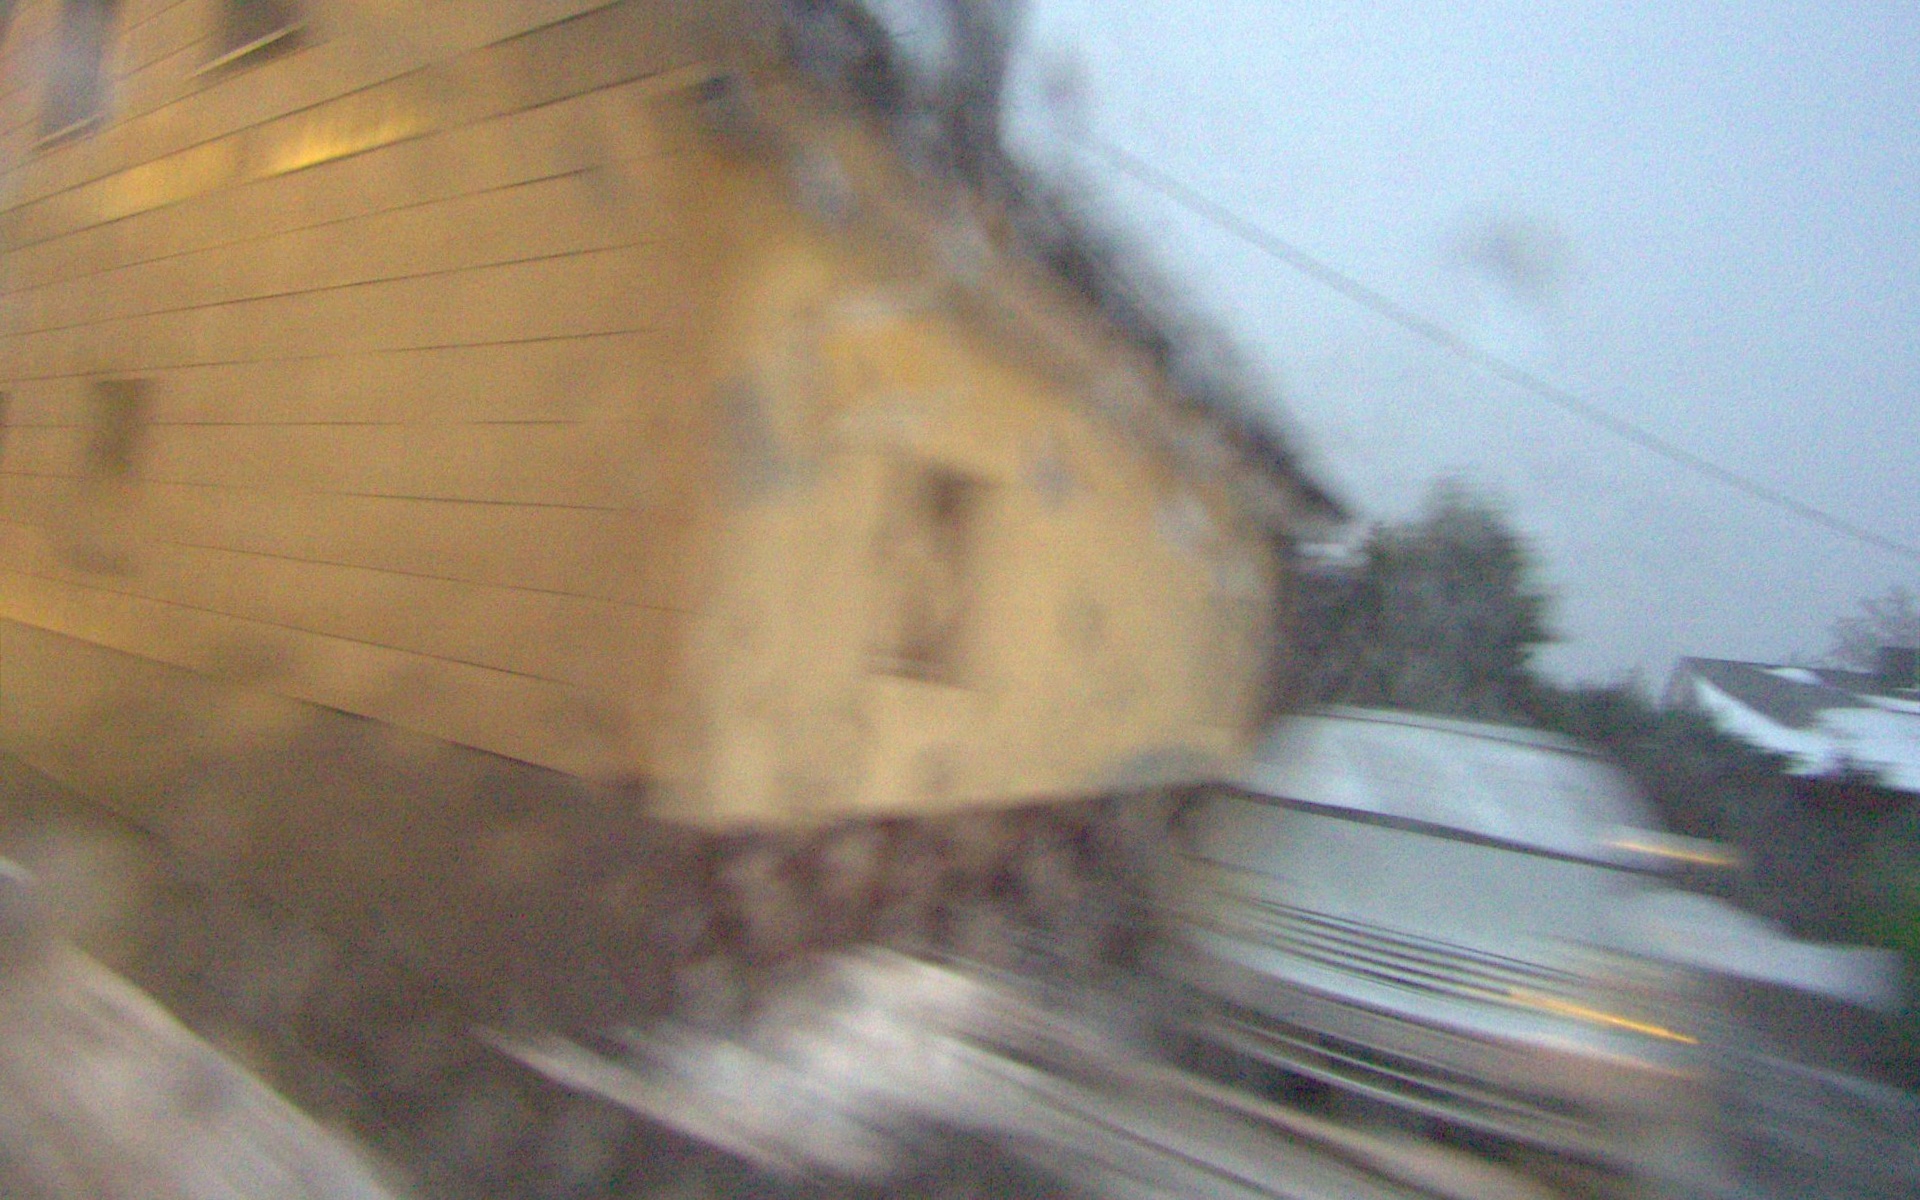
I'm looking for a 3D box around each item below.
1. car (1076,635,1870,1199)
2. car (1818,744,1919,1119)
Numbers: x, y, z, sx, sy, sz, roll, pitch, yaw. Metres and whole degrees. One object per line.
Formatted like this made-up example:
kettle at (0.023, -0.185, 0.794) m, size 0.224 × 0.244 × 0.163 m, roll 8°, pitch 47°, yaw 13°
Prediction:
car at (2.238, 1.195, 4.752) m, size 1.868 × 1.448 × 4.185 m, roll 8°, pitch -3°, yaw 27°
car at (4.590, 1.439, 3.196) m, size 1.789 × 1.514 × 3.753 m, roll 8°, pitch -2°, yaw 26°
